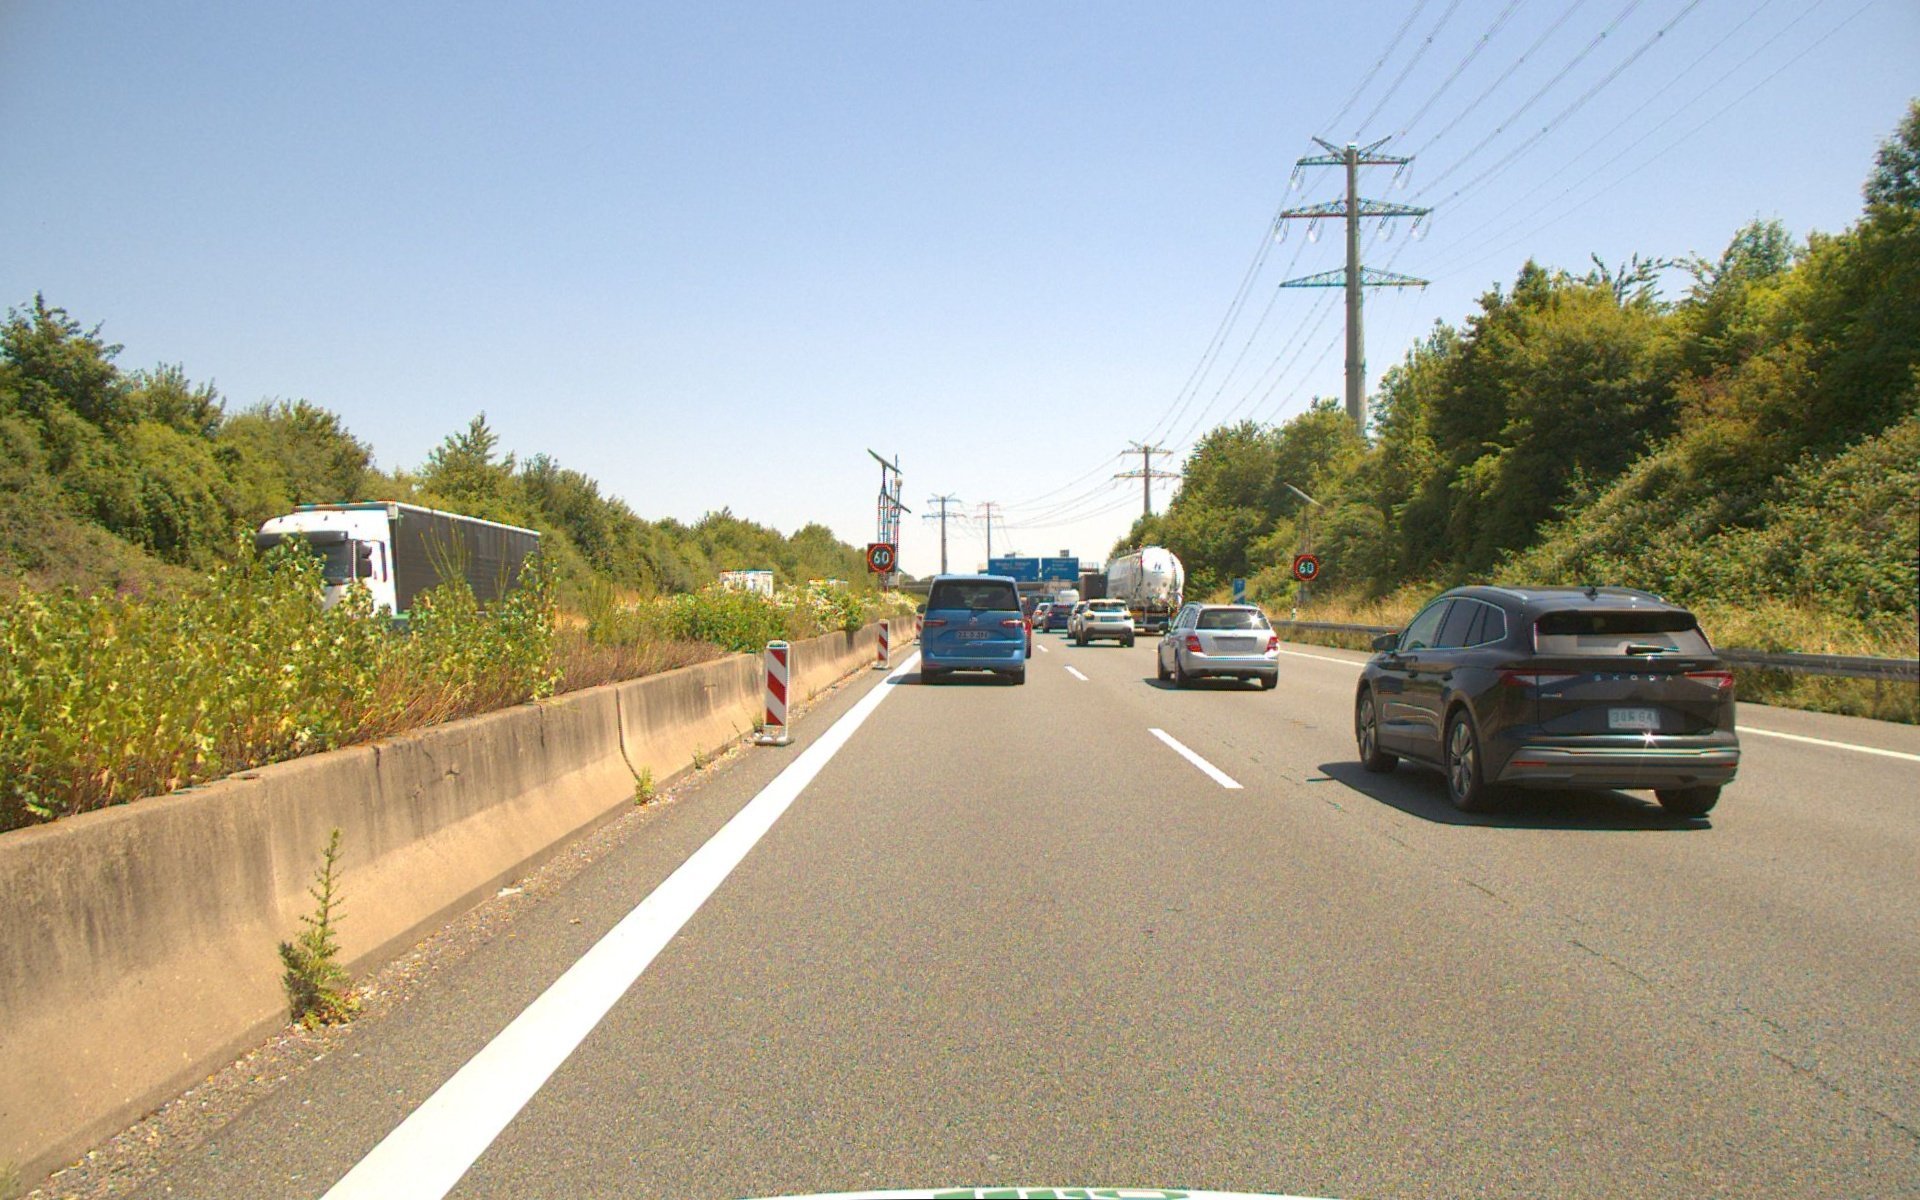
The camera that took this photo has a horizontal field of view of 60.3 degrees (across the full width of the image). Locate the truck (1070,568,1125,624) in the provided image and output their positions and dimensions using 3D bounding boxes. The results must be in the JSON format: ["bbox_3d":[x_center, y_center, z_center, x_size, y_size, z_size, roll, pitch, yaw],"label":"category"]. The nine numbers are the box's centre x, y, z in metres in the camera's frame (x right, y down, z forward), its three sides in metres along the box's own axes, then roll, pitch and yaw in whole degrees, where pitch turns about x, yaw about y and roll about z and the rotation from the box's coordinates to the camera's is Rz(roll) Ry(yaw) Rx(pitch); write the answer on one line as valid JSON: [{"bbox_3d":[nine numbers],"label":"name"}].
[{"bbox_3d":[9.270,-0.238,113.039,2.591,3.600,12.550,1,0,0],"label":"truck"}]

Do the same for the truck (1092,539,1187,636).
[{"bbox_3d":[8.394,-0.536,79.468,2.591,4.143,16.438,1,0,0],"label":"truck"}]

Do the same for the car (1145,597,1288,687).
[{"bbox_3d":[4.497,0.697,29.617,1.784,1.462,4.382,1,0,-1],"label":"car"}]

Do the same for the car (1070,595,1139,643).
[{"bbox_3d":[4.793,0.610,55.301,1.870,1.534,3.920,1,0,-1],"label":"car"}]

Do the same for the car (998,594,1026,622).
[{"bbox_3d":[3.965,0.621,127.341,1.953,2.049,3.999,1,0,0],"label":"car"}]

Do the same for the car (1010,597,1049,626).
[{"bbox_3d":[3.812,0.638,91.848,1.870,1.542,4.382,1,0,-1],"label":"car"}]

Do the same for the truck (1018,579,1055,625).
[{"bbox_3d":[4.793,0.131,104.288,1.953,2.771,5.679,1,0,0],"label":"truck"}]

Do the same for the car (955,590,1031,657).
[{"bbox_3d":[0.811,0.590,43.411,1.869,1.659,4.383,0,0,-1],"label":"car"}]

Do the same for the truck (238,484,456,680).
[{"bbox_3d":[-14.694,-0.400,40.226,2.695,4.239,6.411,-3,0,0],"label":"truck"}]

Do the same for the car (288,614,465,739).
[{"bbox_3d":[-10.481,1.312,29.976,1.863,2.049,3.679,-1,0,0],"label":"car"}]

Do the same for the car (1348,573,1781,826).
[{"bbox_3d":[4.495,0.645,13.089,1.791,1.642,4.430,1,0,0],"label":"car"}]

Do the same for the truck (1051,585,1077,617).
[{"bbox_3d":[9.343,0.099,149.121,1.953,2.771,5.679,1,0,0],"label":"truck"}]

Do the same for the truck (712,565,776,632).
[{"bbox_3d":[-13.736,-0.080,106.026,2.706,3.956,9.029,-3,0,0],"label":"truck"}]

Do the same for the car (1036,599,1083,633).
[{"bbox_3d":[4.729,0.730,78.944,1.870,1.542,4.382,1,0,-1],"label":"car"}]

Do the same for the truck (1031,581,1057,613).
[{"bbox_3d":[12.061,-0.437,238.777,2.878,4.366,12.550,1,0,0],"label":"truck"}]

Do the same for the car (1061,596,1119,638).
[{"bbox_3d":[5.210,0.674,66.790,1.870,1.597,4.382,1,0,-1],"label":"car"}]

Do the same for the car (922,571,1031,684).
[{"bbox_3d":[0.232,0.475,30.511,1.833,1.912,4.382,1,0,-2],"label":"car"}]

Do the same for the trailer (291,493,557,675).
[{"bbox_3d":[-14.691,-0.391,47.106,2.697,4.239,14.196,-3,0,0],"label":"trailer"}]

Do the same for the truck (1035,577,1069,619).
[{"bbox_3d":[9.933,-0.234,179.890,2.878,4.366,12.550,1,0,0],"label":"truck"}]
